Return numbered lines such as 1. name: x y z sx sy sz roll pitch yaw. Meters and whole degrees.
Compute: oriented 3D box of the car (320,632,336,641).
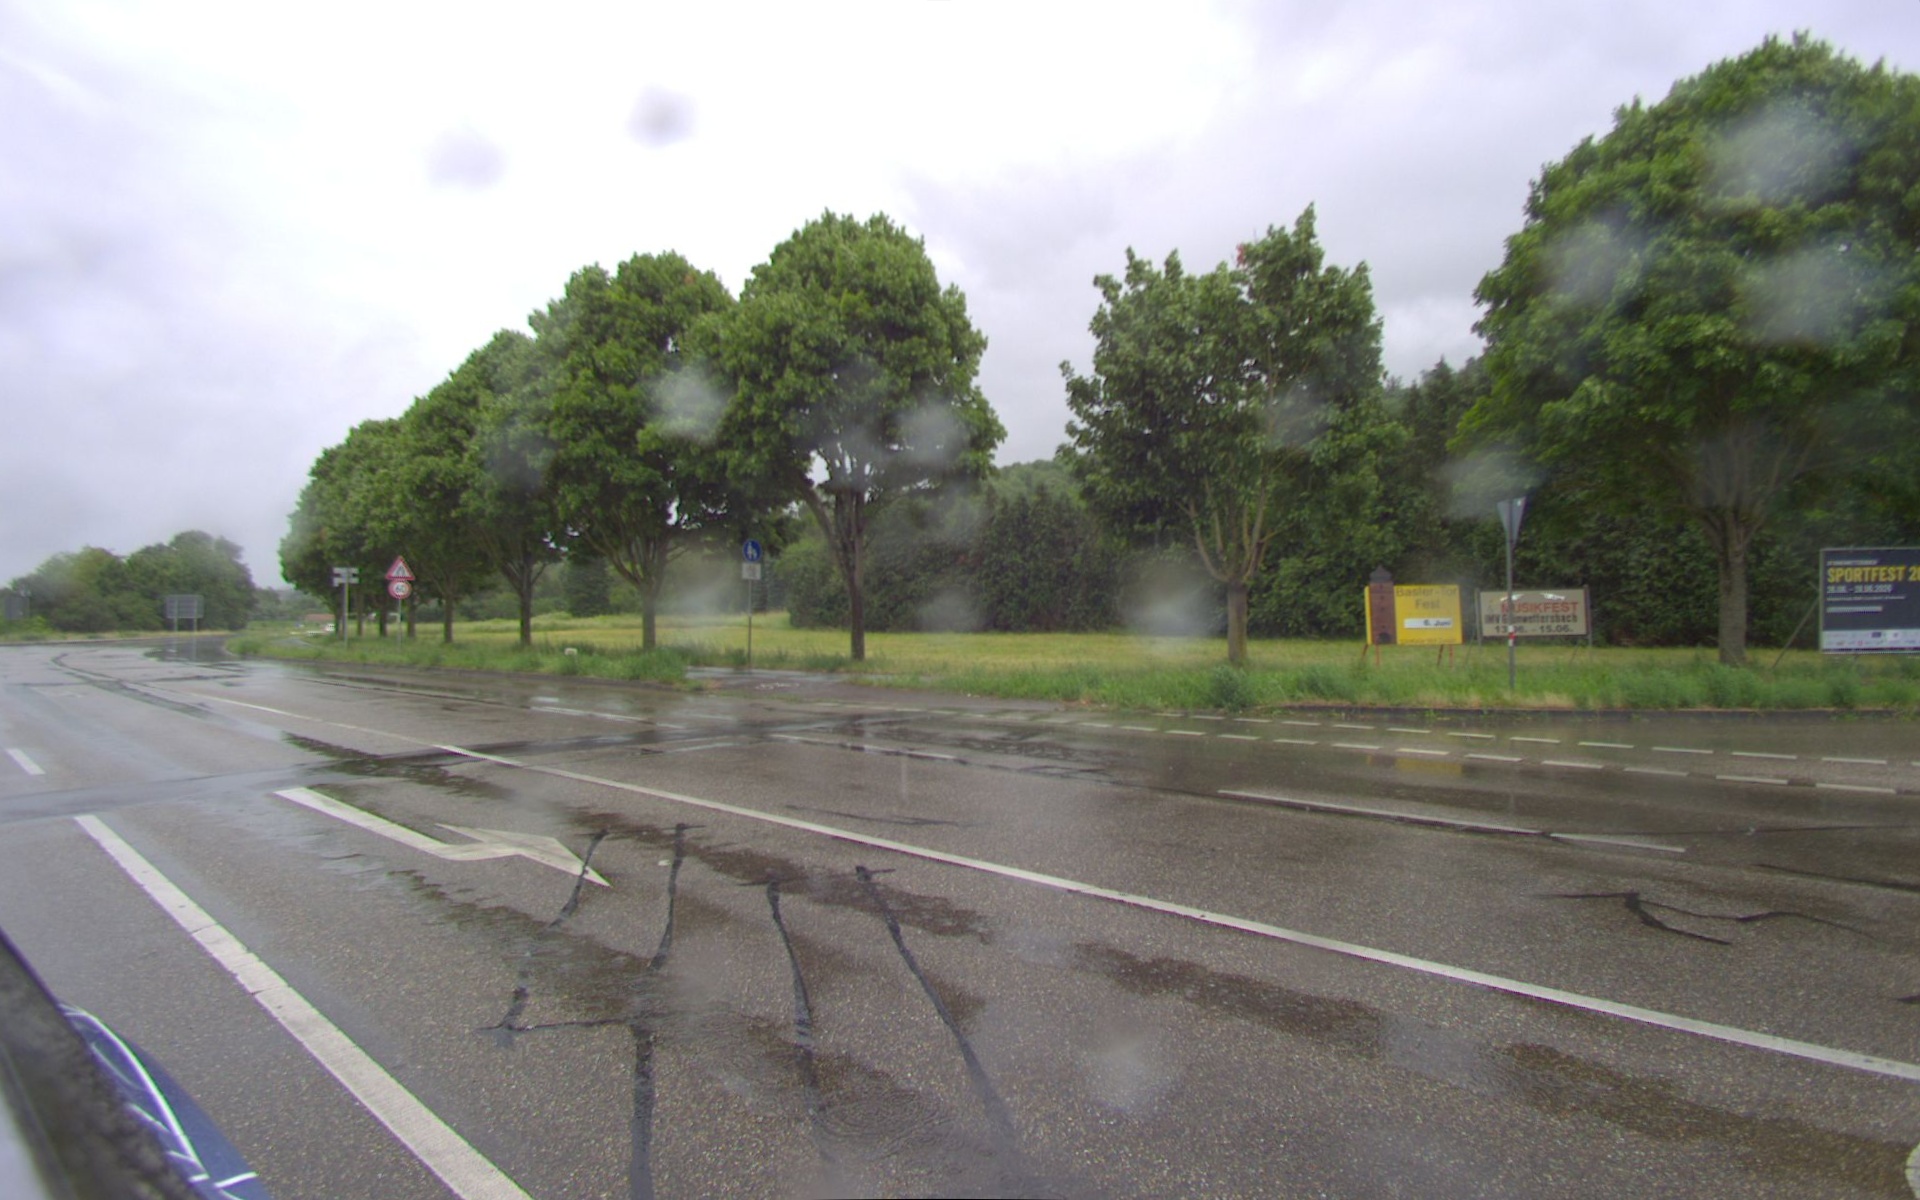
1. car: -107.723 6.215 172.477 1.852 1.585 4.659 2 -2 -27
